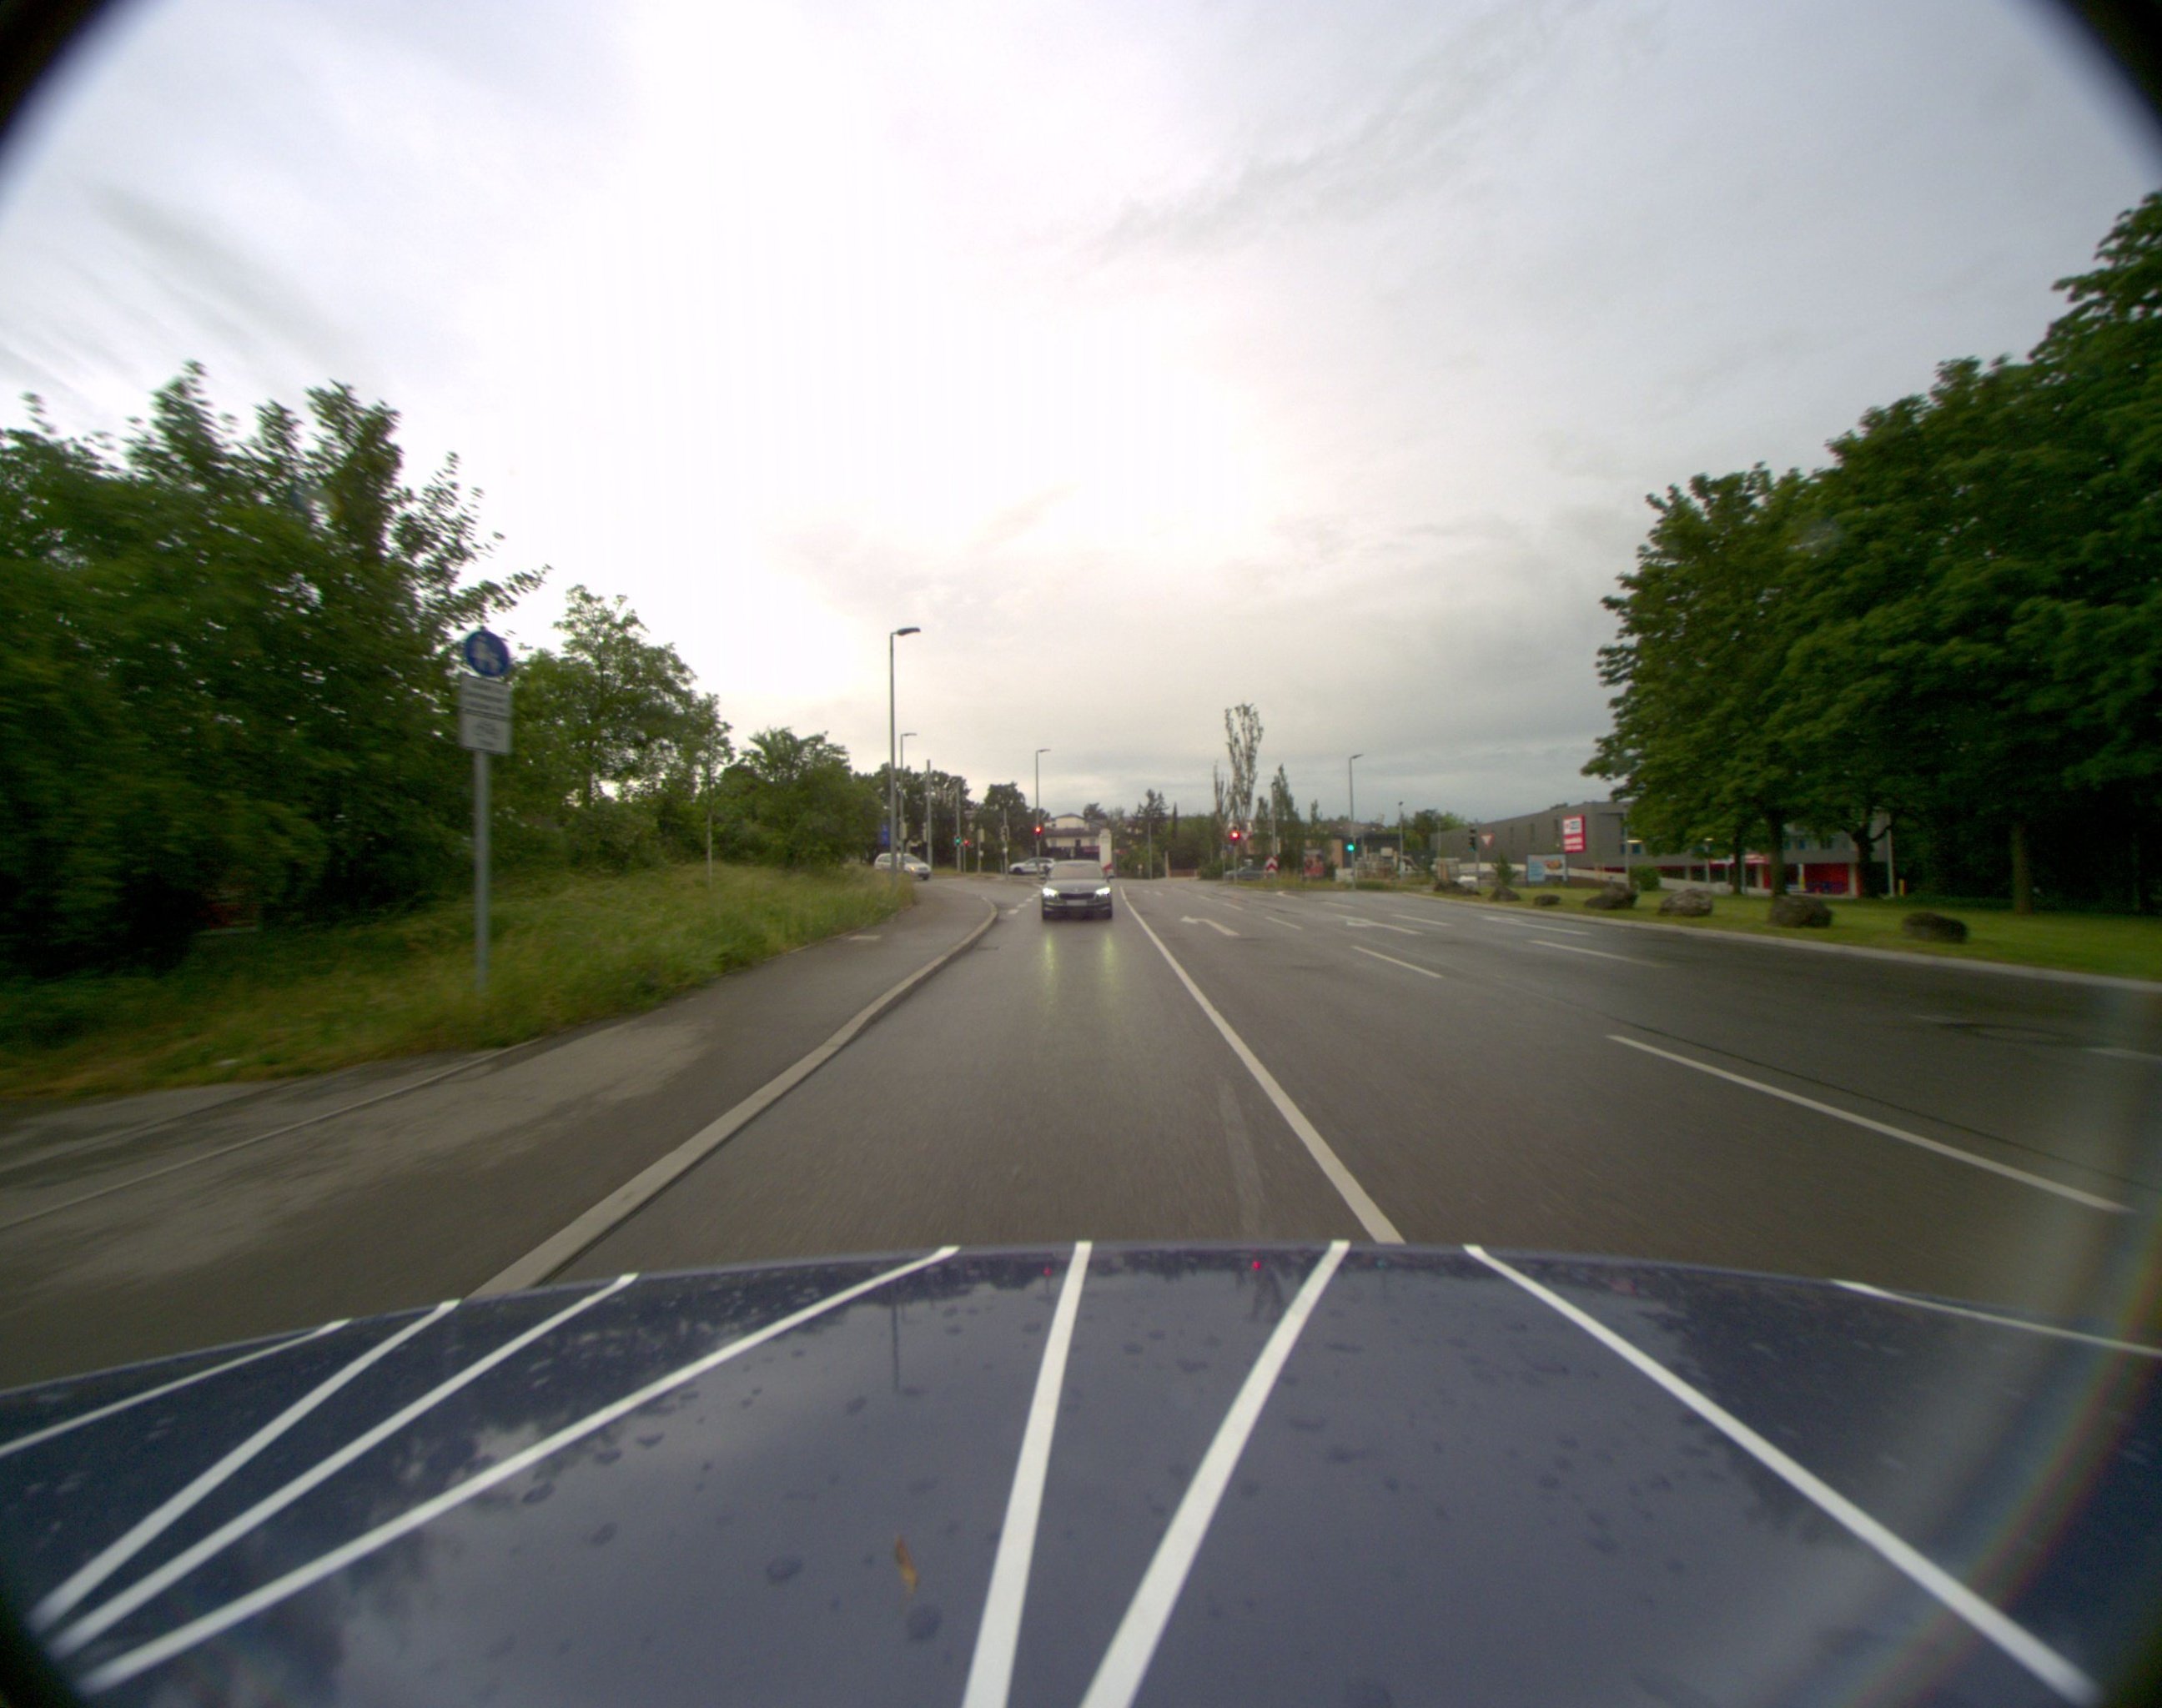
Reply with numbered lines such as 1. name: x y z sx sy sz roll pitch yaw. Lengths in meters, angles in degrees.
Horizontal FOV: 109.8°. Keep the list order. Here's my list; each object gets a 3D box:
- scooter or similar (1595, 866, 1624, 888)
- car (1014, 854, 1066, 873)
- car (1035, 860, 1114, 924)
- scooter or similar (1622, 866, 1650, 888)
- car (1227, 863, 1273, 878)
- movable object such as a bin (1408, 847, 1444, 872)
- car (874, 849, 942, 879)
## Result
1. scooter or similar: 30.655 1.315 44.078 1.357 1.251 0.549 1 -1 -5
2. car: -3.758 0.884 70.361 4.621 1.692 1.841 1 -1 3
3. car: -0.140 0.936 20.195 1.839 1.448 4.202 -2 -1 0
4. scooter or similar: 32.120 1.326 43.976 1.226 1.251 0.517 1 -1 -5
5. car: 15.948 1.556 71.865 4.036 1.396 1.842 -1 -1 8
6. movable object such as a bin: 37.958 0.605 83.694 2.997 2.611 1.929 1 -1 0
7. car: -10.824 0.586 47.485 4.051 1.596 1.826 2 5 35
